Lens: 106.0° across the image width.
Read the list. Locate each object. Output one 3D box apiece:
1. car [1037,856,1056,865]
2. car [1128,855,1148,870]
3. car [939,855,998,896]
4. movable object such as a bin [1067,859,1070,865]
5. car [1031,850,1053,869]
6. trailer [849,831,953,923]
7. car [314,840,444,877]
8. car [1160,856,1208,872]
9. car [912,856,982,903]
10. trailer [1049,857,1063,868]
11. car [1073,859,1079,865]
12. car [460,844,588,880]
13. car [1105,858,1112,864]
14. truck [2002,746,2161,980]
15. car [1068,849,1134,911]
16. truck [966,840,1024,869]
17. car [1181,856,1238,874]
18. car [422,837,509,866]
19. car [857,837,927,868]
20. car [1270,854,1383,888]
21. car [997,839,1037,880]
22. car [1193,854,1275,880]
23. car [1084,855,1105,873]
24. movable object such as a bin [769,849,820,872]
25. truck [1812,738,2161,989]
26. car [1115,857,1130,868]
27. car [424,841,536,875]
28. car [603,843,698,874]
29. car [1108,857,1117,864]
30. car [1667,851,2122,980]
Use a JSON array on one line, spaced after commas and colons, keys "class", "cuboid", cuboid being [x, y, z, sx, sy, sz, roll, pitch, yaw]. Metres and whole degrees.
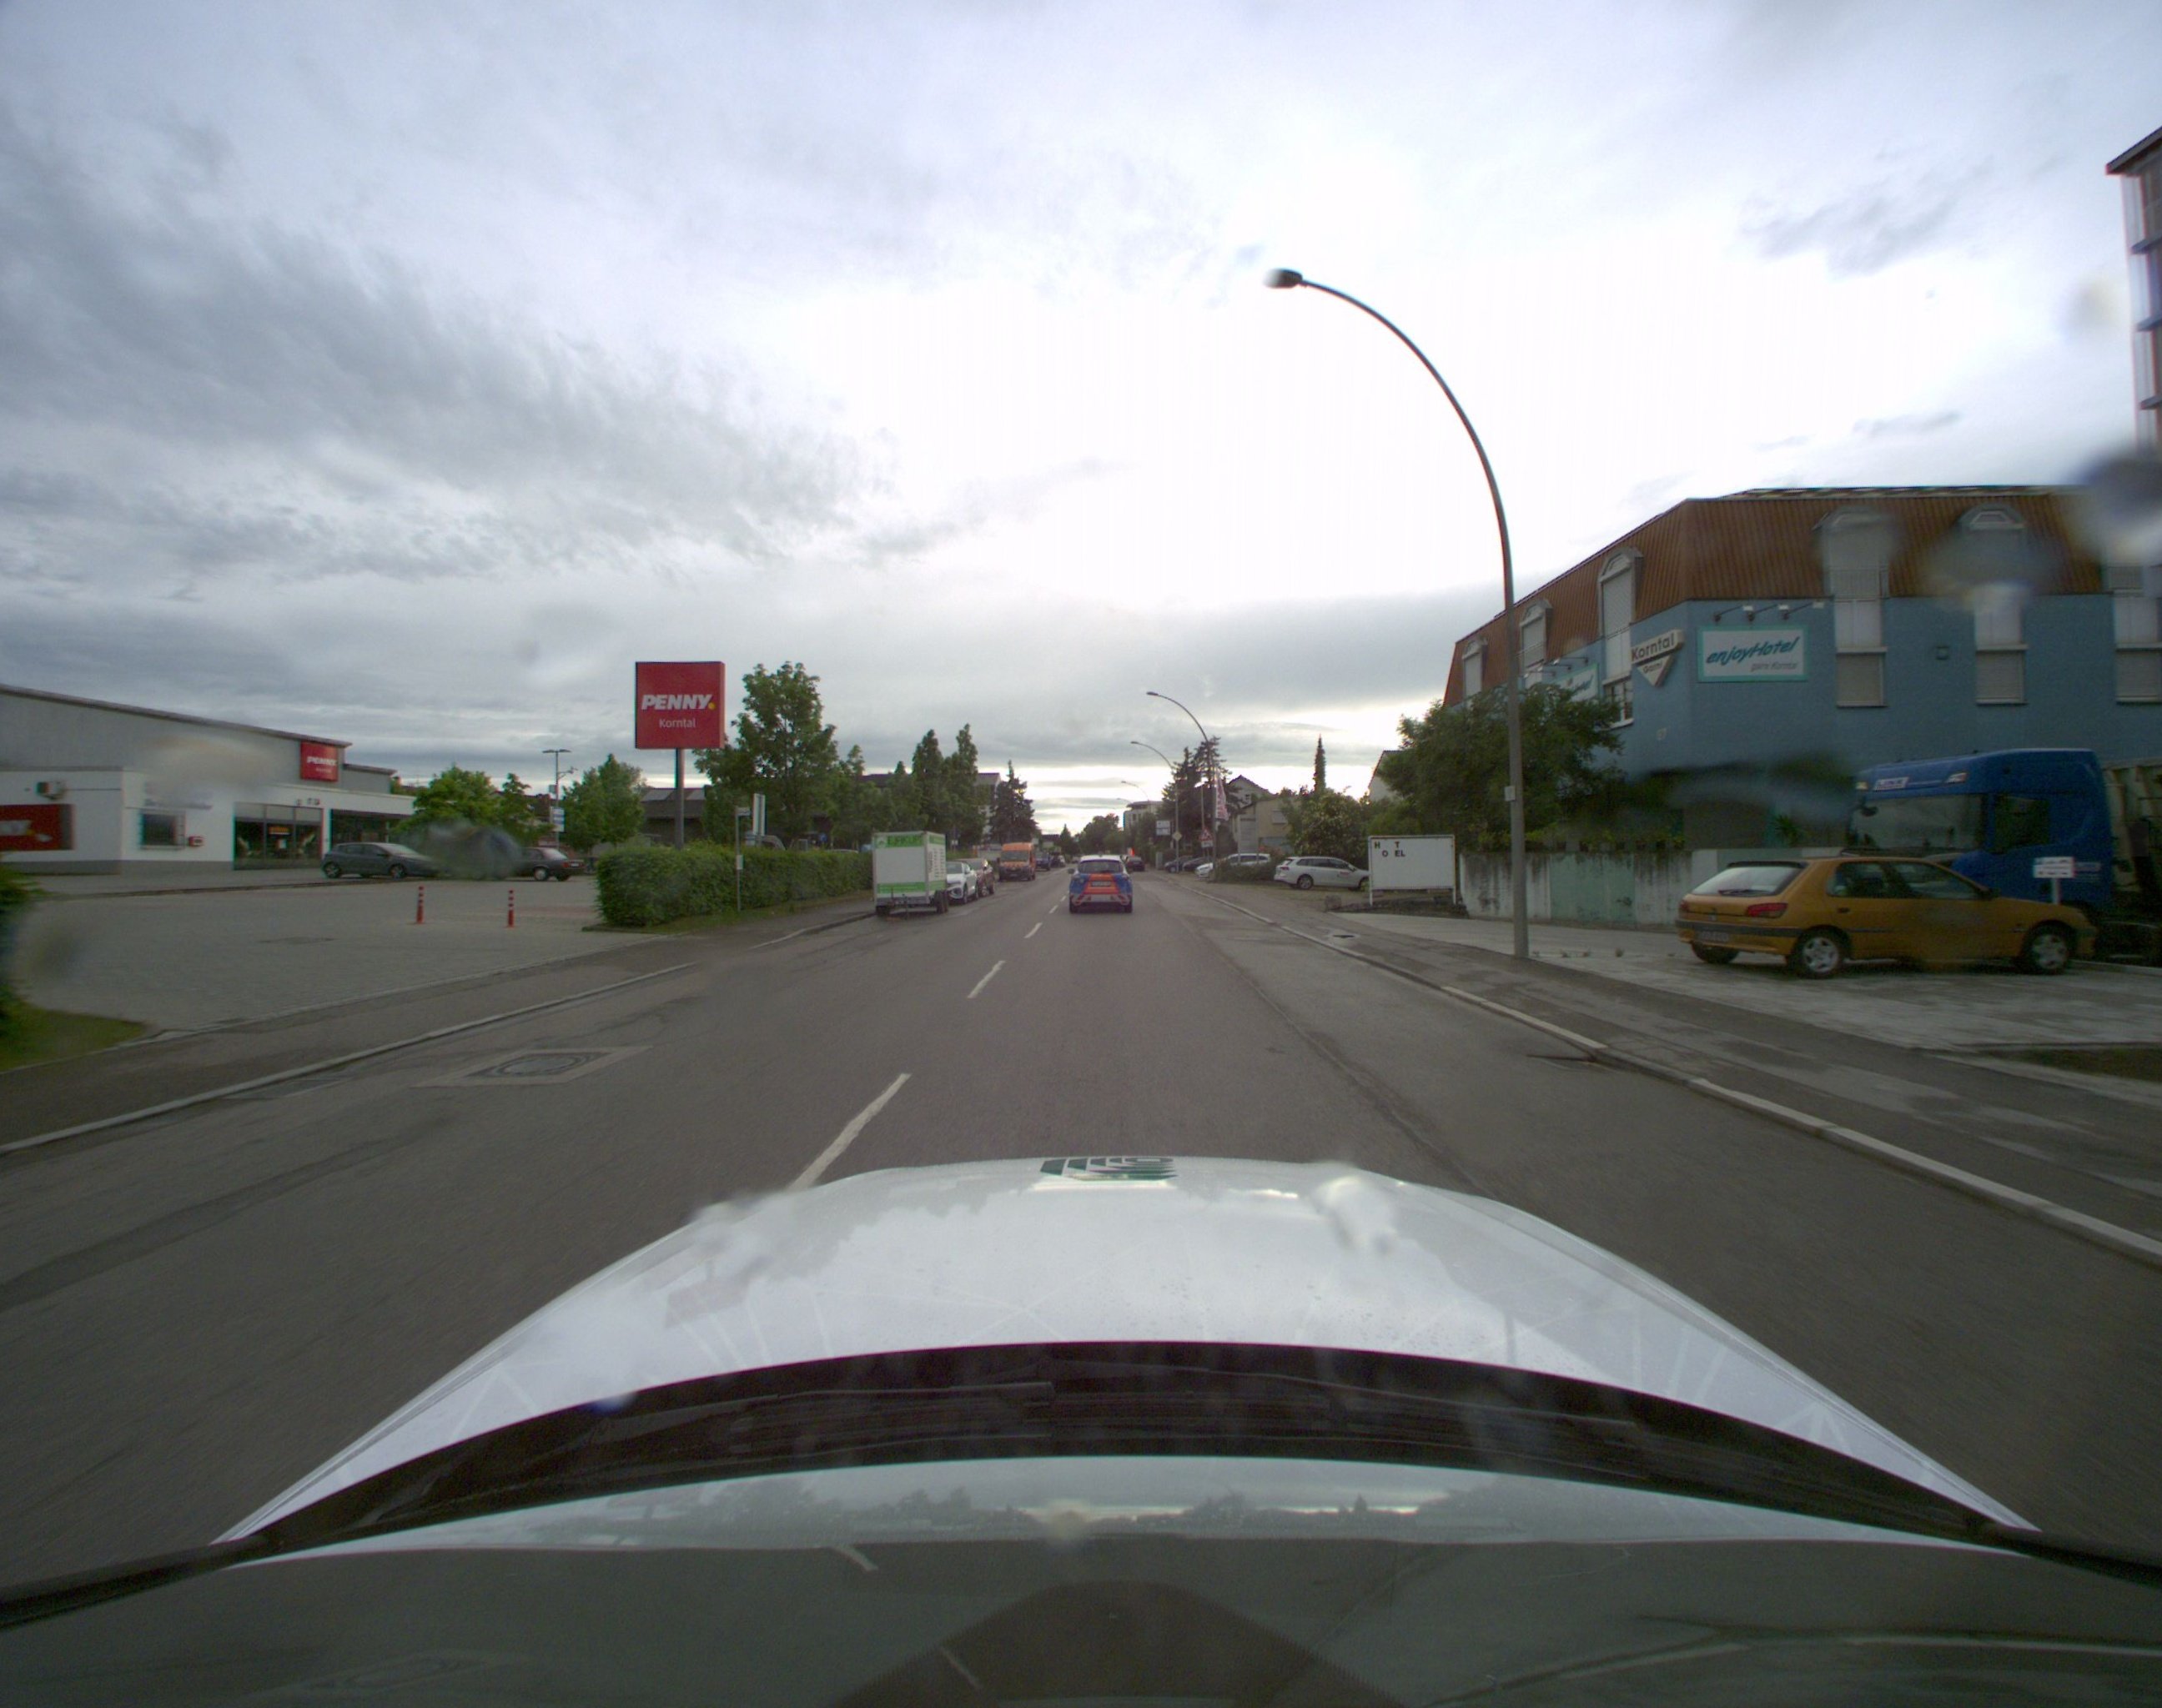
[{"class": "car", "cuboid": [-6.936, 1.325, 164.504, 3.751, 1.576, 1.653, 1, -1, -4]}, {"class": "car", "cuboid": [5.335, 0.777, 76.720, 1.584, 1.341, 4.091, 1, 0, 0]}, {"class": "car", "cuboid": [-4.668, 0.848, 34.425, 1.799, 1.573, 4.342, -1, 0, 1]}, {"class": "movable object such as a bin", "cuboid": [-2.713, 1.706, 174.767, 0.577, 1.204, 0.319, 0, -1, 1]}, {"class": "car", "cuboid": [-4.082, 0.564, 85.907, 1.987, 1.947, 5.365, 1, -1, 1]}, {"class": "trailer", "cuboid": [-5.041, 0.601, 23.502, 1.806, 2.314, 4.730, -3, 0, 1]}, {"class": "car", "cuboid": [-28.904, 0.188, 33.610, 3.883, 1.496, 1.452, 0, 0, -6]}, {"class": "car", "cuboid": [8.951, 0.883, 71.214, 3.975, 1.266, 1.950, 1, -1, -1]}, {"class": "car", "cuboid": [-4.709, 0.862, 29.138, 1.766, 1.498, 4.137, 0, 0, 1]}, {"class": "trailer", "cuboid": [-3.126, 1.096, 103.722, 1.712, 1.260, 5.243, 1, 1, -1]}, {"class": "car", "cuboid": [-1.275, 1.860, 189.753, 1.382, 1.483, 3.782, 0, 0, -1]}, {"class": "car", "cuboid": [-23.044, 0.332, 33.823, 3.968, 1.387, 1.801, 1, -1, -4]}, {"class": "car", "cuboid": [7.011, 1.730, 210.872, 1.645, 1.483, 3.998, 1, -1, -1]}, {"class": "truck", "cuboid": [21.399, 0.254, 13.907, 8.510, 3.707, 2.721, 1, -1, -1]}, {"class": "car", "cuboid": [0.549, 0.701, 23.170, 1.726, 1.631, 3.494, 0, -1, 0]}, {"class": "truck", "cuboid": [-9.374, 0.080, 89.103, 5.889, 3.073, 2.450, 1, -1, 1]}, {"class": "car", "cuboid": [9.358, 0.820, 59.531, 3.971, 1.266, 1.952, 1, -1, 2]}, {"class": "car", "cuboid": [-48.877, -0.175, 64.769, 5.217, 2.240, 1.972, 1, -1, -5]}, {"class": "car", "cuboid": [-12.900, -0.111, 55.764, 4.290, 2.014, 2.063, 1, -1, 1]}, {"class": "car", "cuboid": [10.708, 0.758, 35.753, 4.401, 1.393, 1.880, 1, -1, 0]}, {"class": "car", "cuboid": [-4.191, 0.359, 54.491, 2.117, 2.537, 6.022, -1, 0, 1]}, {"class": "car", "cuboid": [8.669, 0.734, 46.325, 4.324, 1.475, 1.902, 0, -1, 0]}, {"class": "car", "cuboid": [1.157, 0.863, 70.513, 1.645, 1.522, 3.998, 1, -1, -1]}, {"class": "movable object such as a bin", "cuboid": [-22.834, 0.545, 64.998, 3.417, 1.760, 1.996, 1, -1, -6]}, {"class": "truck", "cuboid": [15.658, 0.187, 13.765, 4.132, 3.674, 2.718, 3, -1, -2]}, {"class": "car", "cuboid": [5.515, 1.095, 108.441, 1.706, 1.438, 4.524, 1, -1, -1]}, {"class": "car", "cuboid": [-29.271, 0.208, 39.757, 3.982, 1.606, 1.768, 1, -1, -7]}, {"class": "car", "cuboid": [-22.996, 0.245, 43.632, 4.046, 1.551, 1.883, 1, -1, -4]}, {"class": "car", "cuboid": [6.940, 1.423, 178.934, 1.645, 1.672, 3.998, 1, -1, -1]}, {"class": "car", "cuboid": [9.709, 0.690, 9.939, 3.975, 1.430, 1.630, 0, 0, -1]}]
